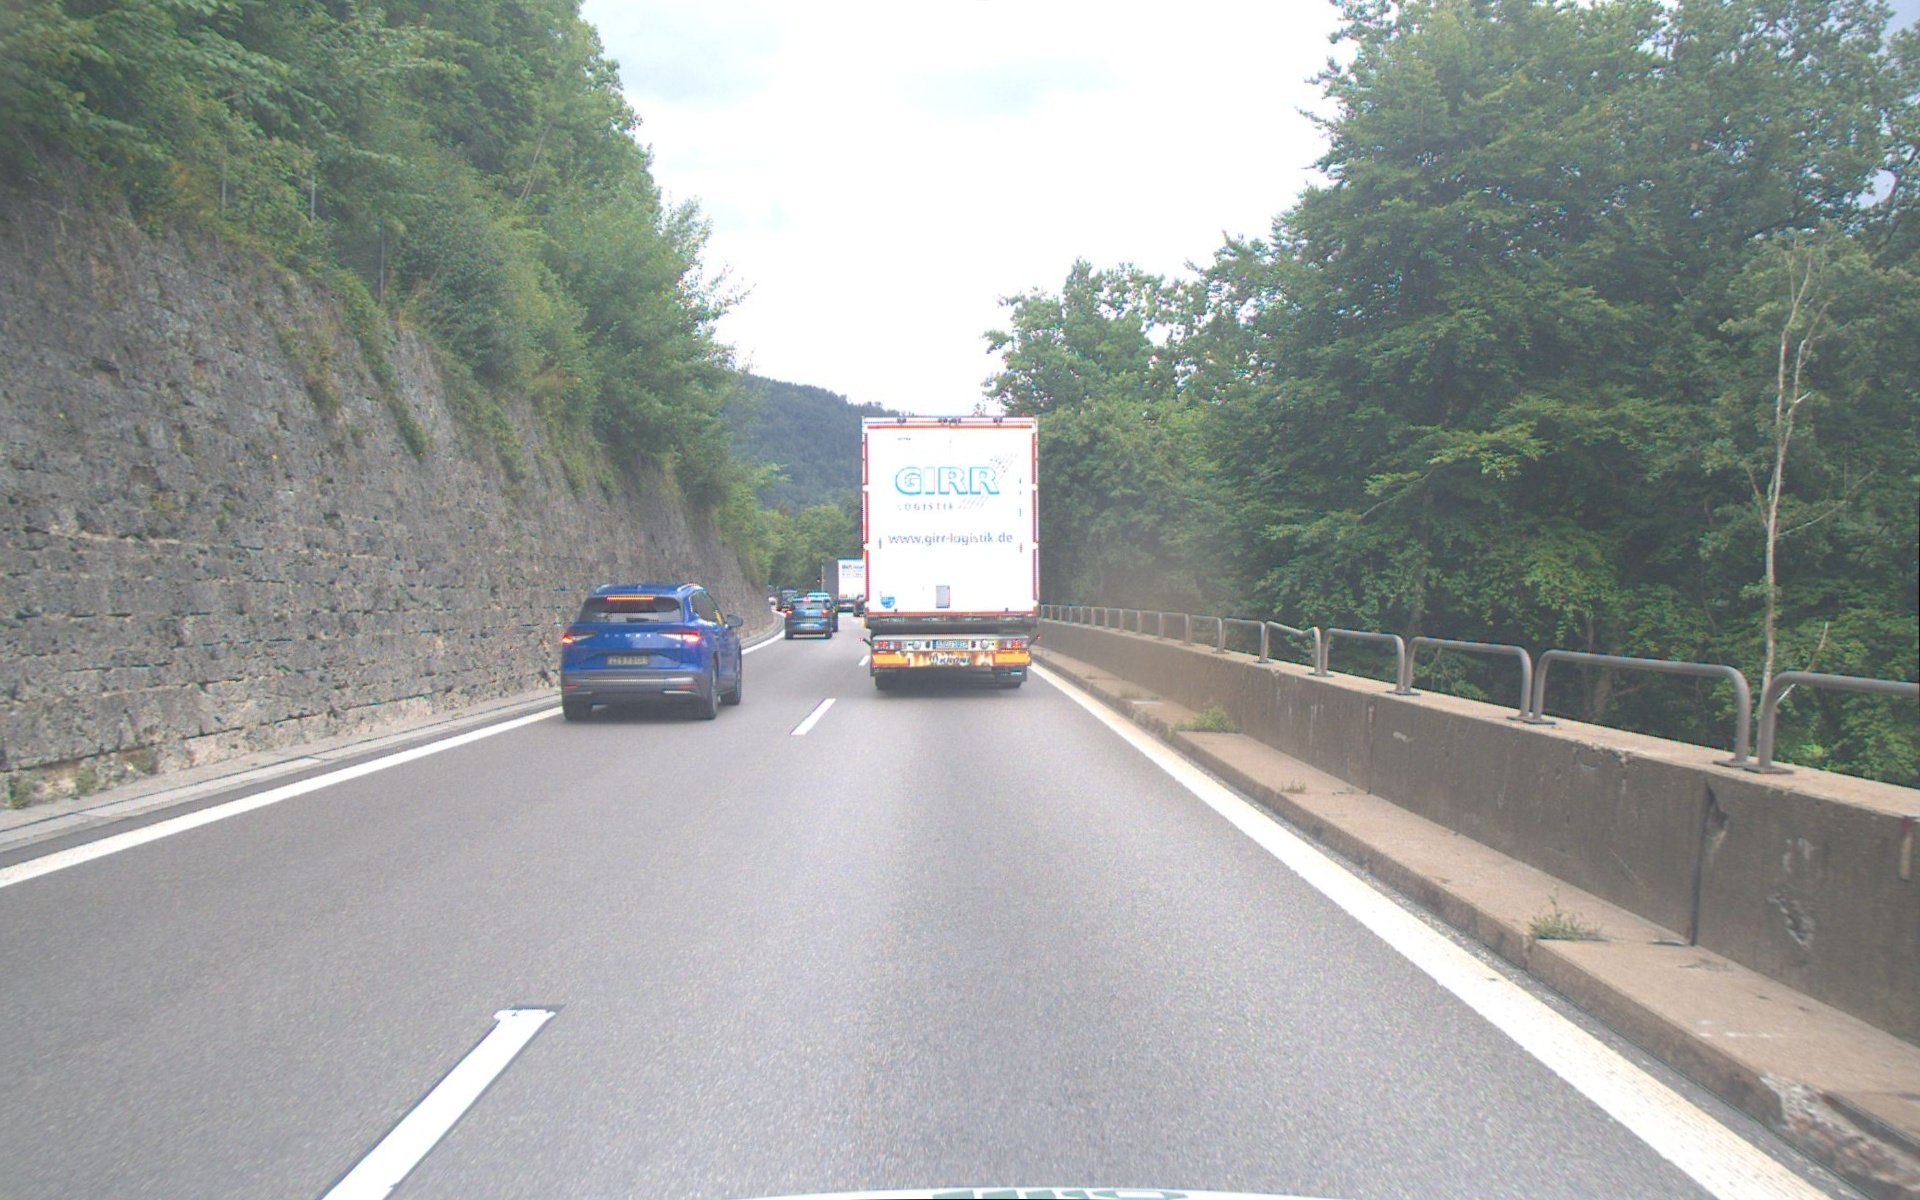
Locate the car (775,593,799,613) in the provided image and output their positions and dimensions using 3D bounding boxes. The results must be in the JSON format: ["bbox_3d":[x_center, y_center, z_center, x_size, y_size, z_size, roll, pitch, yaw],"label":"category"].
[{"bbox_3d":[-13.878,0.254,132.637,1.861,1.577,4.243,0,0,-7],"label":"car"}]

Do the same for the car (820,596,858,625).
[{"bbox_3d":[-6.953,0.587,94.585,1.861,1.577,4.241,0,0,-9],"label":"car"}]

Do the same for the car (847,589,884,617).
[{"bbox_3d":[-6.103,0.166,106.561,2.021,1.683,3.993,-1,0,-8],"label":"car"}]

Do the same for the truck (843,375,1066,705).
[{"bbox_3d":[-0.144,-0.916,30.701,3.021,4.542,15.154,-1,1,0],"label":"truck"}]

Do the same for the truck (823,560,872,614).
[{"bbox_3d":[-8.934,-1.020,129.595,2.586,3.925,12.331,-1,0,-9],"label":"truck"}]

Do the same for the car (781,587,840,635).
[{"bbox_3d":[-5.387,0.418,59.969,1.954,1.624,4.350,-1,-1,-3],"label":"car"}]

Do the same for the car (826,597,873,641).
[{"bbox_3d":[-4.616,0.801,69.761,1.711,1.614,3.998,5,-1,-2],"label":"car"}]

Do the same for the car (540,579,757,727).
[{"bbox_3d":[-3.848,0.598,21.305,1.953,1.660,5.007,-1,0,-2],"label":"car"}]

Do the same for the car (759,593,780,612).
[{"bbox_3d":[-18.801,0.245,163.250,1.714,1.614,3.990,6,-1,-10],"label":"car"}]
